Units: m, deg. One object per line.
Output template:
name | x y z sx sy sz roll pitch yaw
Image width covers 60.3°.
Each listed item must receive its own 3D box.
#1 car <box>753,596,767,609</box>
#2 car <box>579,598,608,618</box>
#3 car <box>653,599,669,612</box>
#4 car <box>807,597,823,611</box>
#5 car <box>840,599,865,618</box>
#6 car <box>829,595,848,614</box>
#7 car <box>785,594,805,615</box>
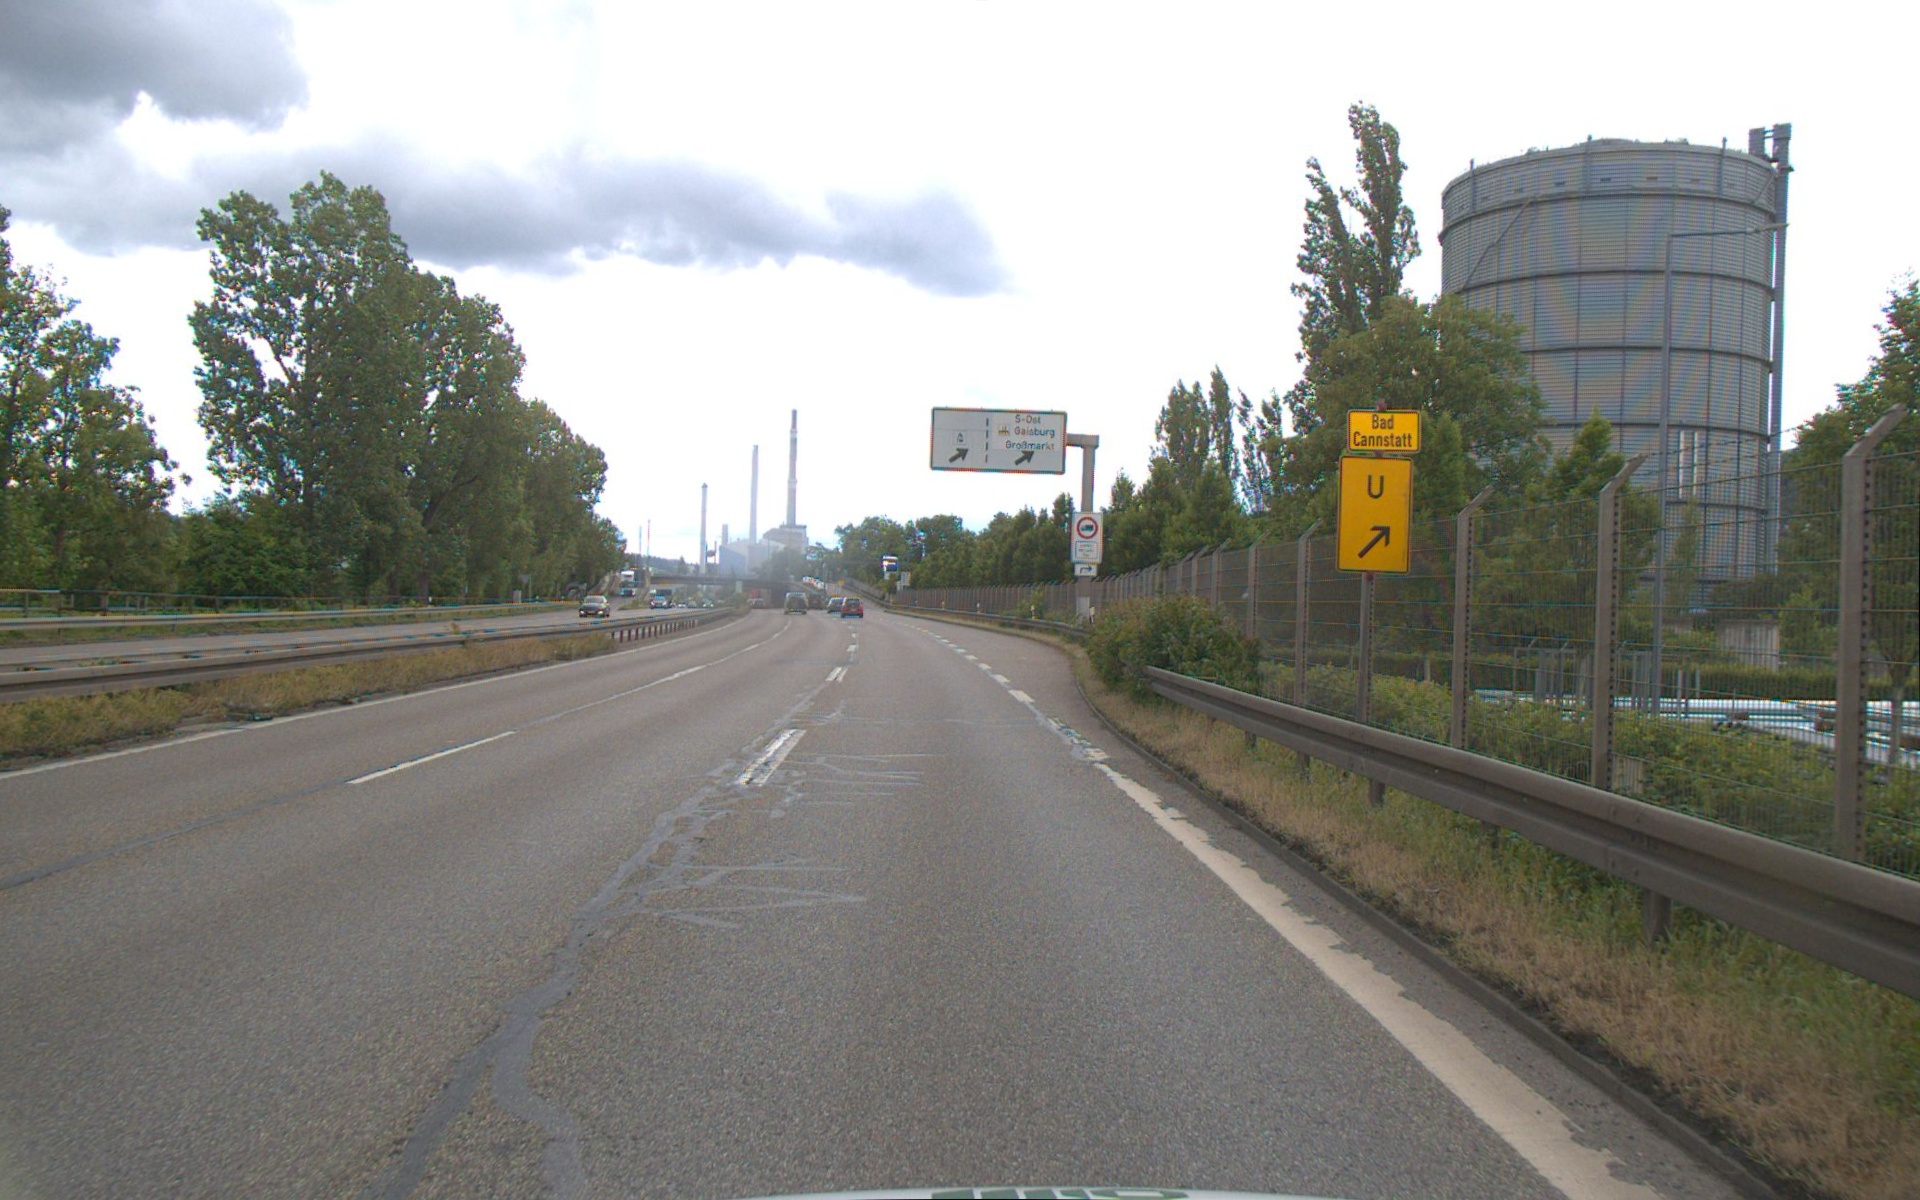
car | -28.001 0.295 231.840 1.667 1.772 4.381 0 0 -11
car | -26.158 0.554 118.161 1.666 1.438 4.629 0 0 -8
car | -34.539 0.606 191.310 1.666 1.438 4.628 0 0 -9
car | -17.314 0.489 197.724 1.666 1.582 4.390 0 0 -8
car | -8.474 0.658 129.967 1.935 1.448 4.896 0 0 -4
car | -11.587 0.449 157.515 1.665 1.772 4.386 0 0 -7
car | -14.550 0.393 145.754 1.664 1.772 3.996 0 0 -5
